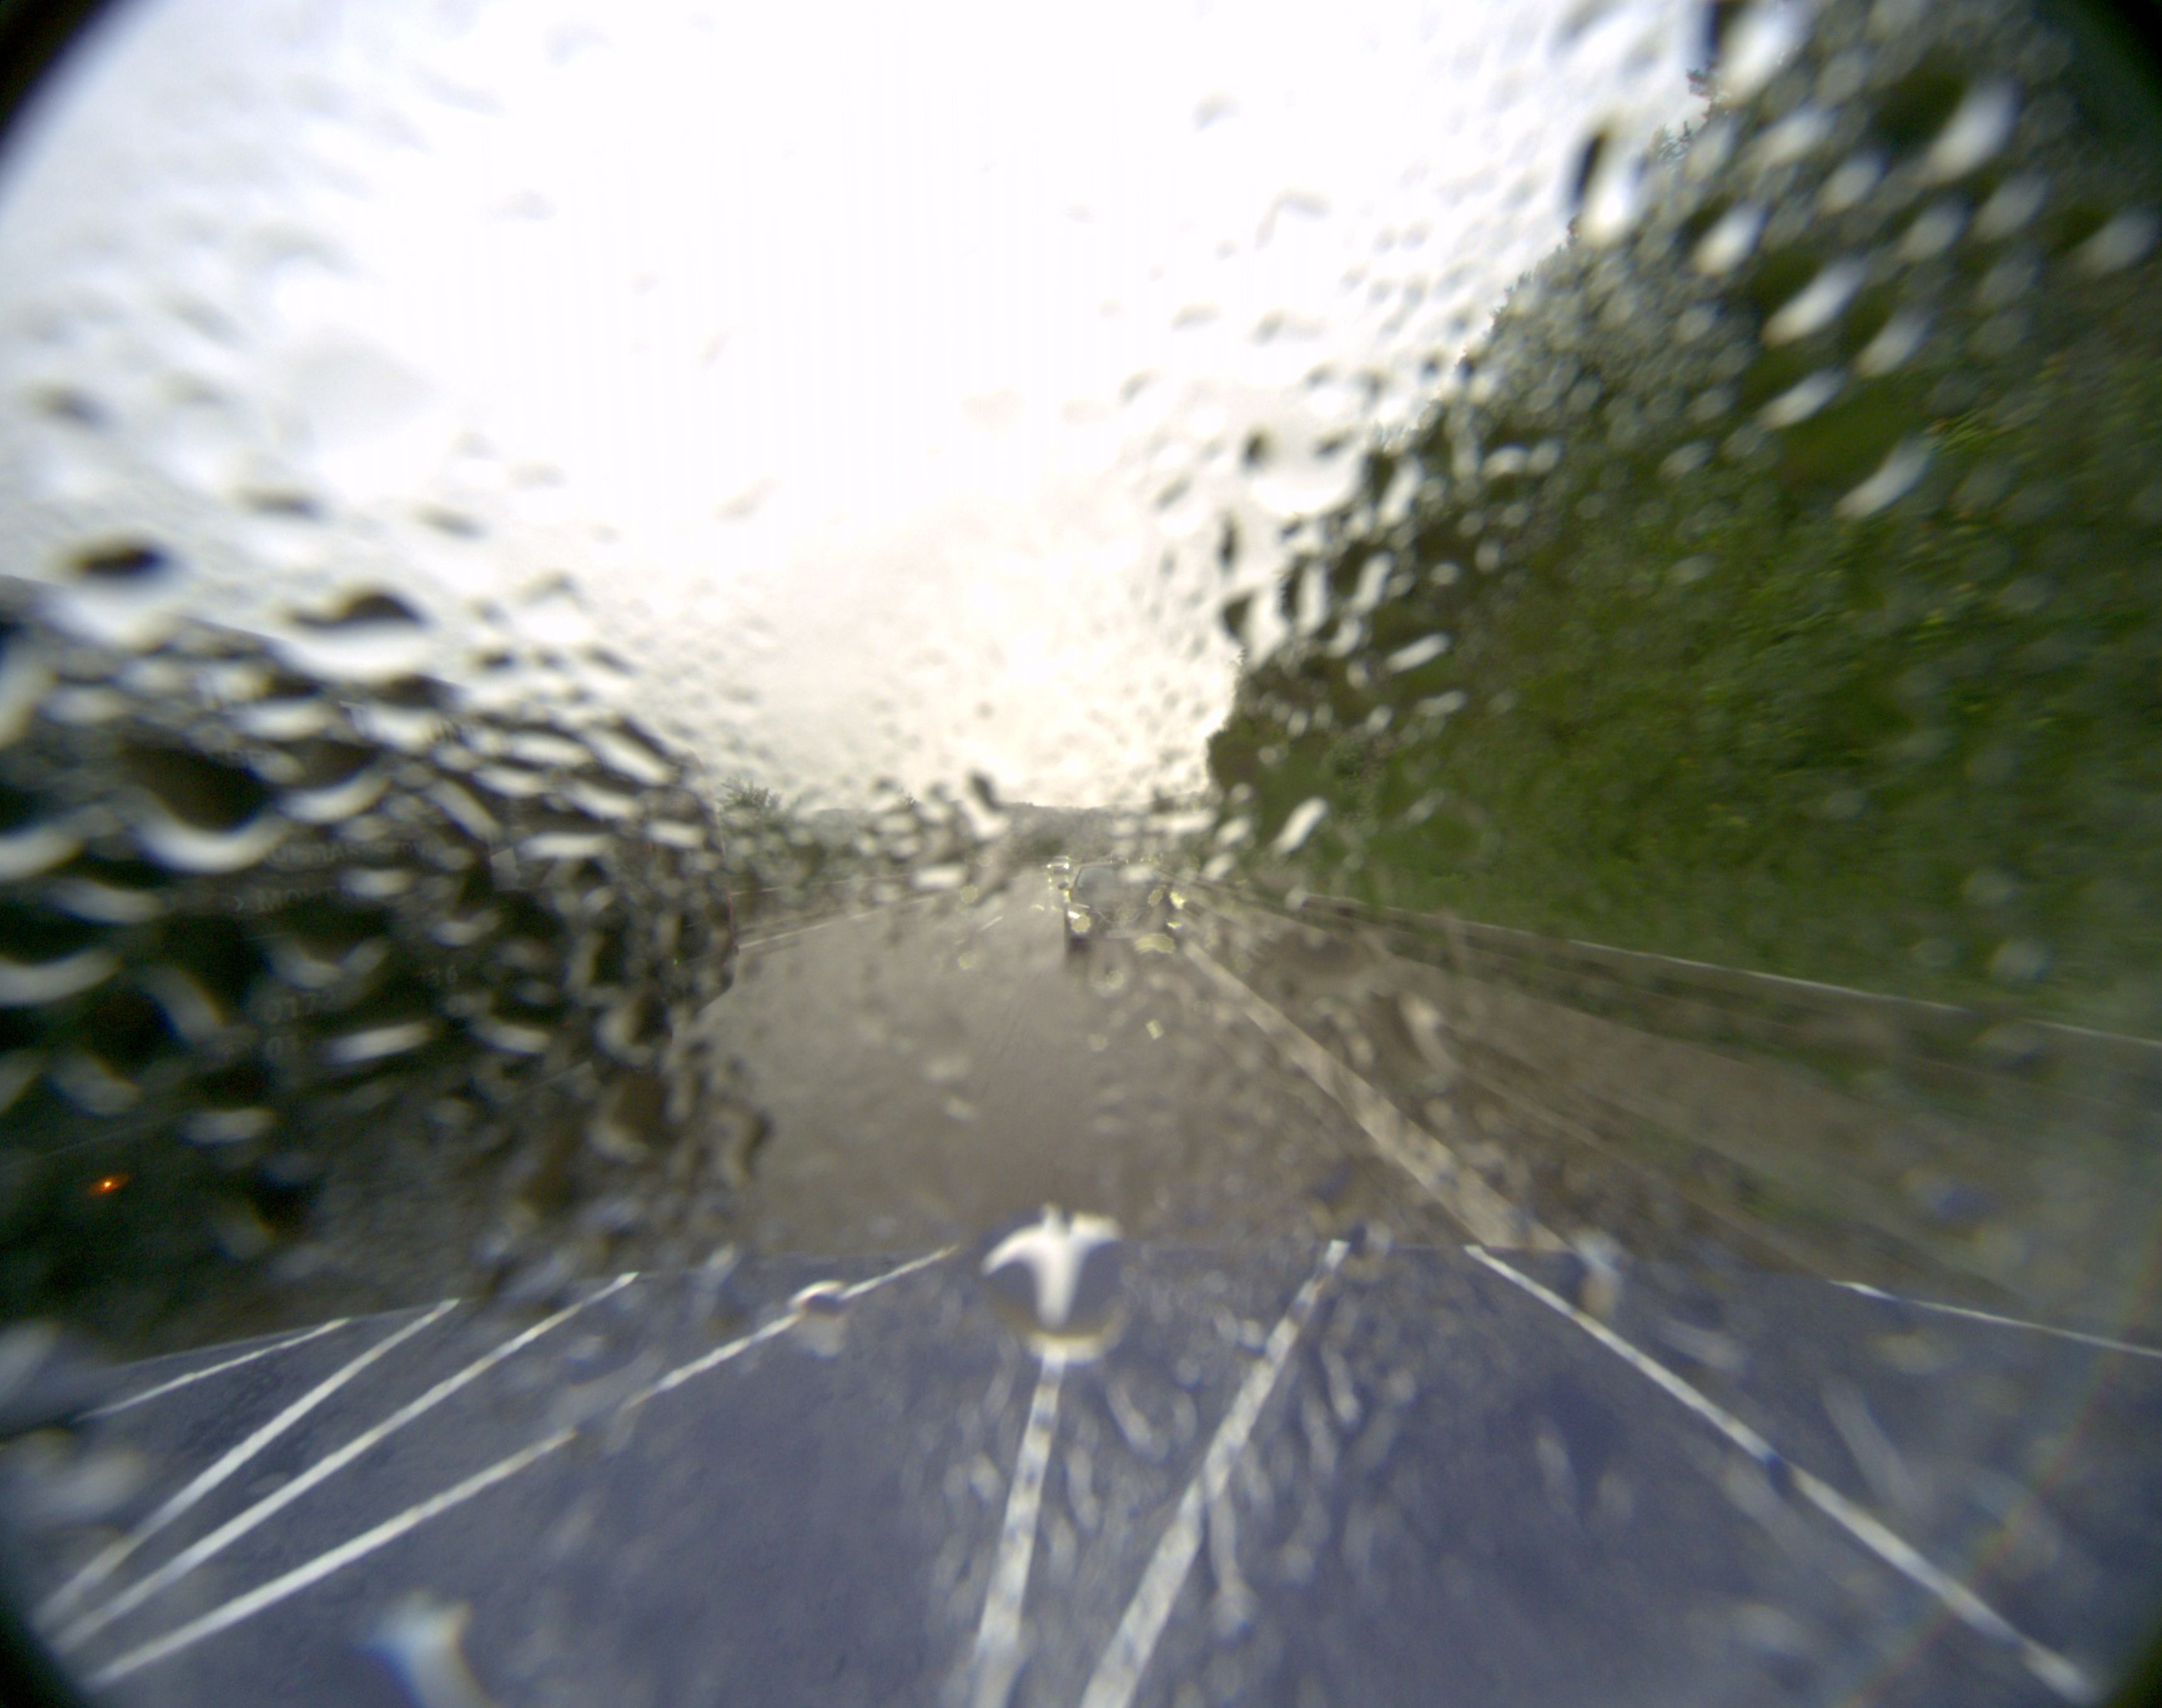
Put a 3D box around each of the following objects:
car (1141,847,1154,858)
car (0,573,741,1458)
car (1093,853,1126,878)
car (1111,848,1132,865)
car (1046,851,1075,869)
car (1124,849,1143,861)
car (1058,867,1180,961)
[{"bbox_3d":[9.939,-0.278,113.355,1.657,1.535,3.665,-2,0,7],"label":"car"},{"bbox_3d":[-4.030,0.470,3.318,1.998,2.479,6.705,-1,0,0],"label":"car"},{"bbox_3d":[1.740,0.654,45.071,1.712,1.316,3.946,-2,1,5],"label":"car"},{"bbox_3d":[3.969,0.188,73.791,1.906,1.545,4.565,-2,0,5],"label":"car"},{"bbox_3d":[-1.697,0.476,63.930,1.990,1.407,4.565,-2,1,4],"label":"car"},{"bbox_3d":[6.441,0.093,92.468,1.989,1.316,4.145,-2,0,7],"label":"car"},{"bbox_3d":[0.637,0.967,13.772,1.839,1.316,4.135,-2,0,1],"label":"car"}]
